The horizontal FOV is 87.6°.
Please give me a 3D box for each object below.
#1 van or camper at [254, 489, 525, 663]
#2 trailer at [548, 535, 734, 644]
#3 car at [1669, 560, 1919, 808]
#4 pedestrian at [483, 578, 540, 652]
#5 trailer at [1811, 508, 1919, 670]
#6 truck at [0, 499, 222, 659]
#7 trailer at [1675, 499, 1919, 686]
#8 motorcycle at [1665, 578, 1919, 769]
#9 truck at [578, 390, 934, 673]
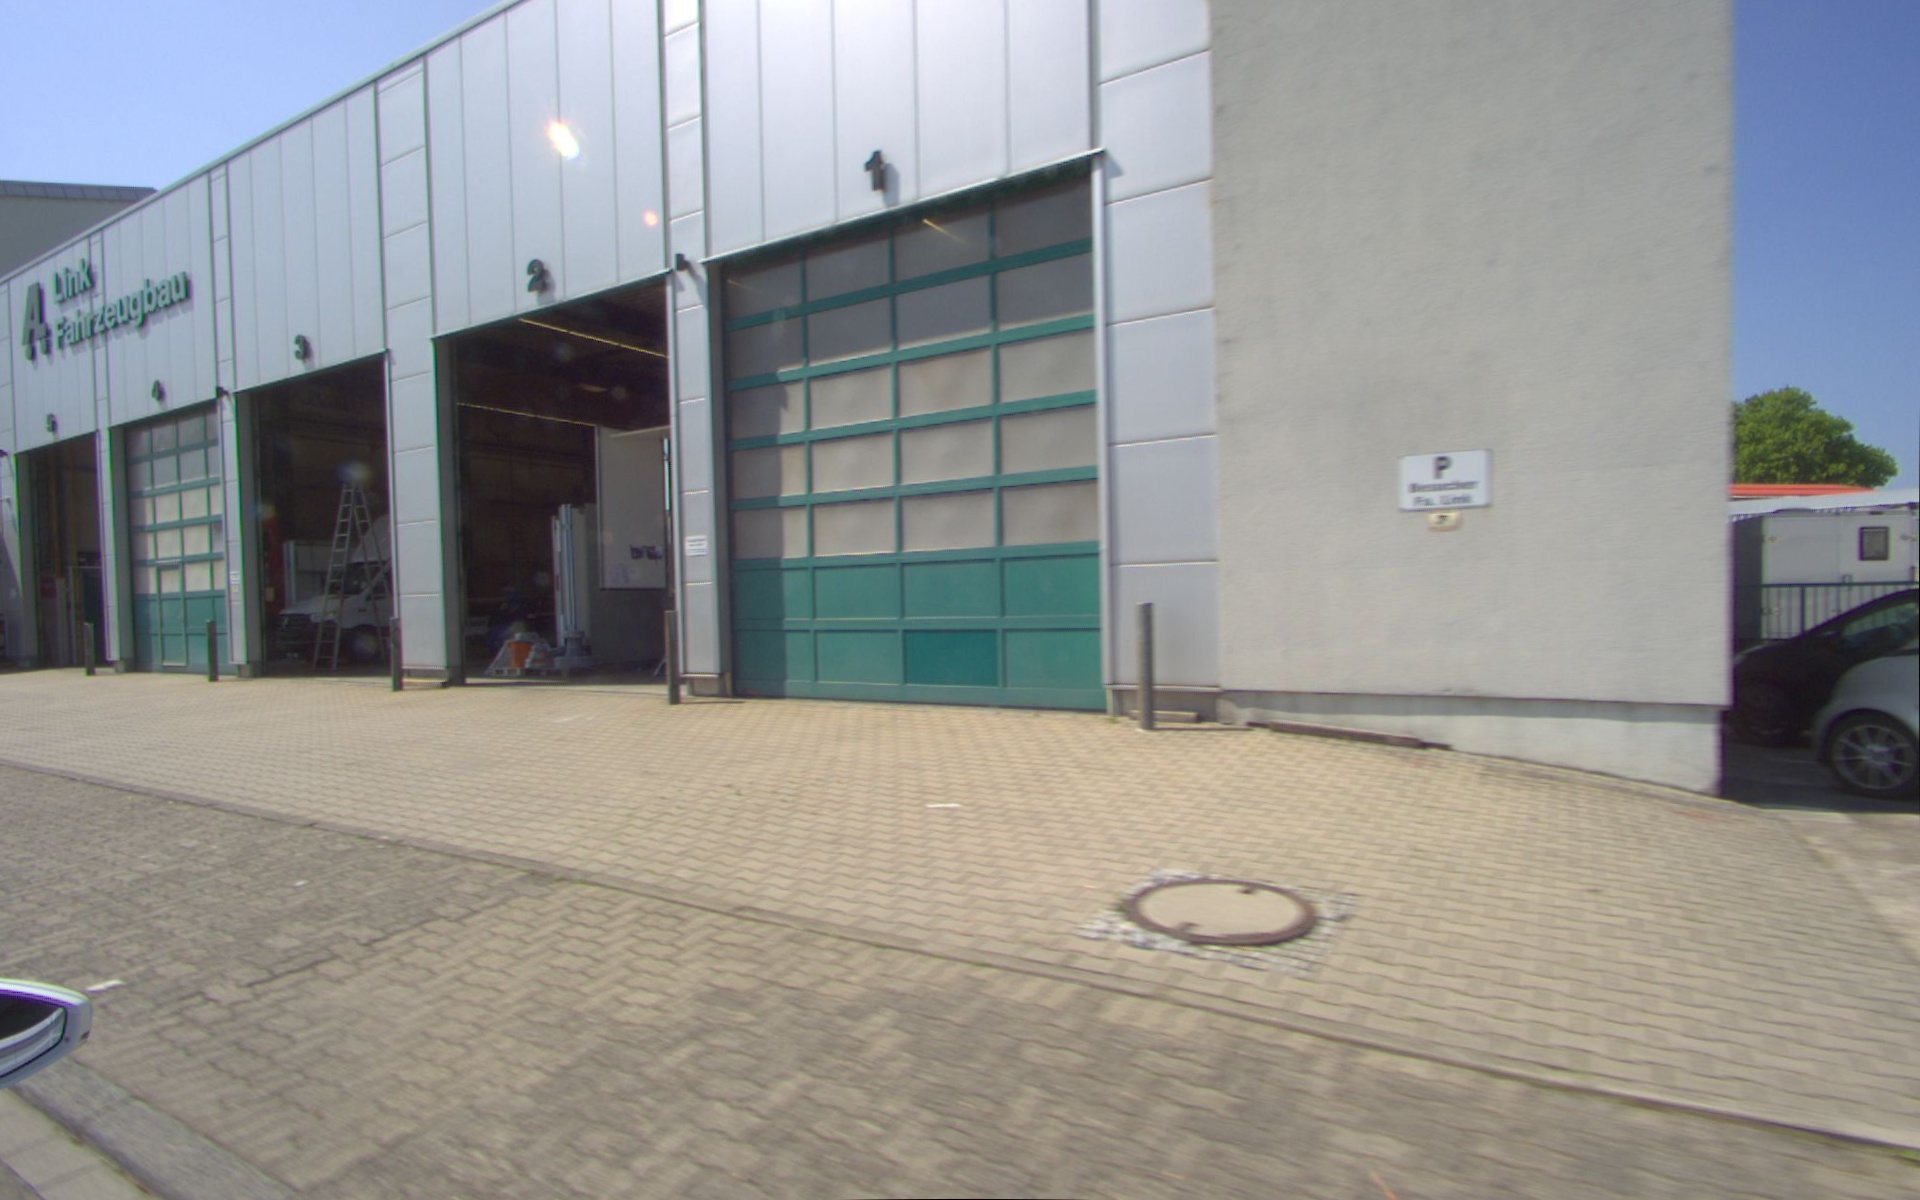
[{"bbox_3d":[-12.200,-0.473,21.805,1.969,3.332,4.750,0,1,28],"label":"van or camper"},{"bbox_3d":[-8.838,-0.272,28.155,2.401,2.801,4.485,-1,1,31],"label":"trailer"},{"bbox_3d":[6.920,0.507,6.340,1.747,1.560,3.695,-2,1,-16],"label":"car"},{"bbox_3d":[-10.179,0.334,22.756,0.852,1.642,0.810,0,1,30],"label":"pedestrian"},{"bbox_3d":[18.646,-0.213,19.586,2.015,2.912,4.122,1,1,26],"label":"trailer"},{"bbox_3d":[-22.999,-0.524,24.501,2.723,3.697,7.351,-1,3,26],"label":"truck"},{"bbox_3d":[14.677,-0.149,17.798,2.011,2.912,4.129,1,1,18],"label":"trailer"},{"bbox_3d":[8.395,0.572,8.546,1.747,1.512,3.602,-2,1,-16],"label":"motorcycle"},{"bbox_3d":[-3.094,-0.925,16.432,2.740,3.799,5.284,0,1,34],"label":"truck"}]
